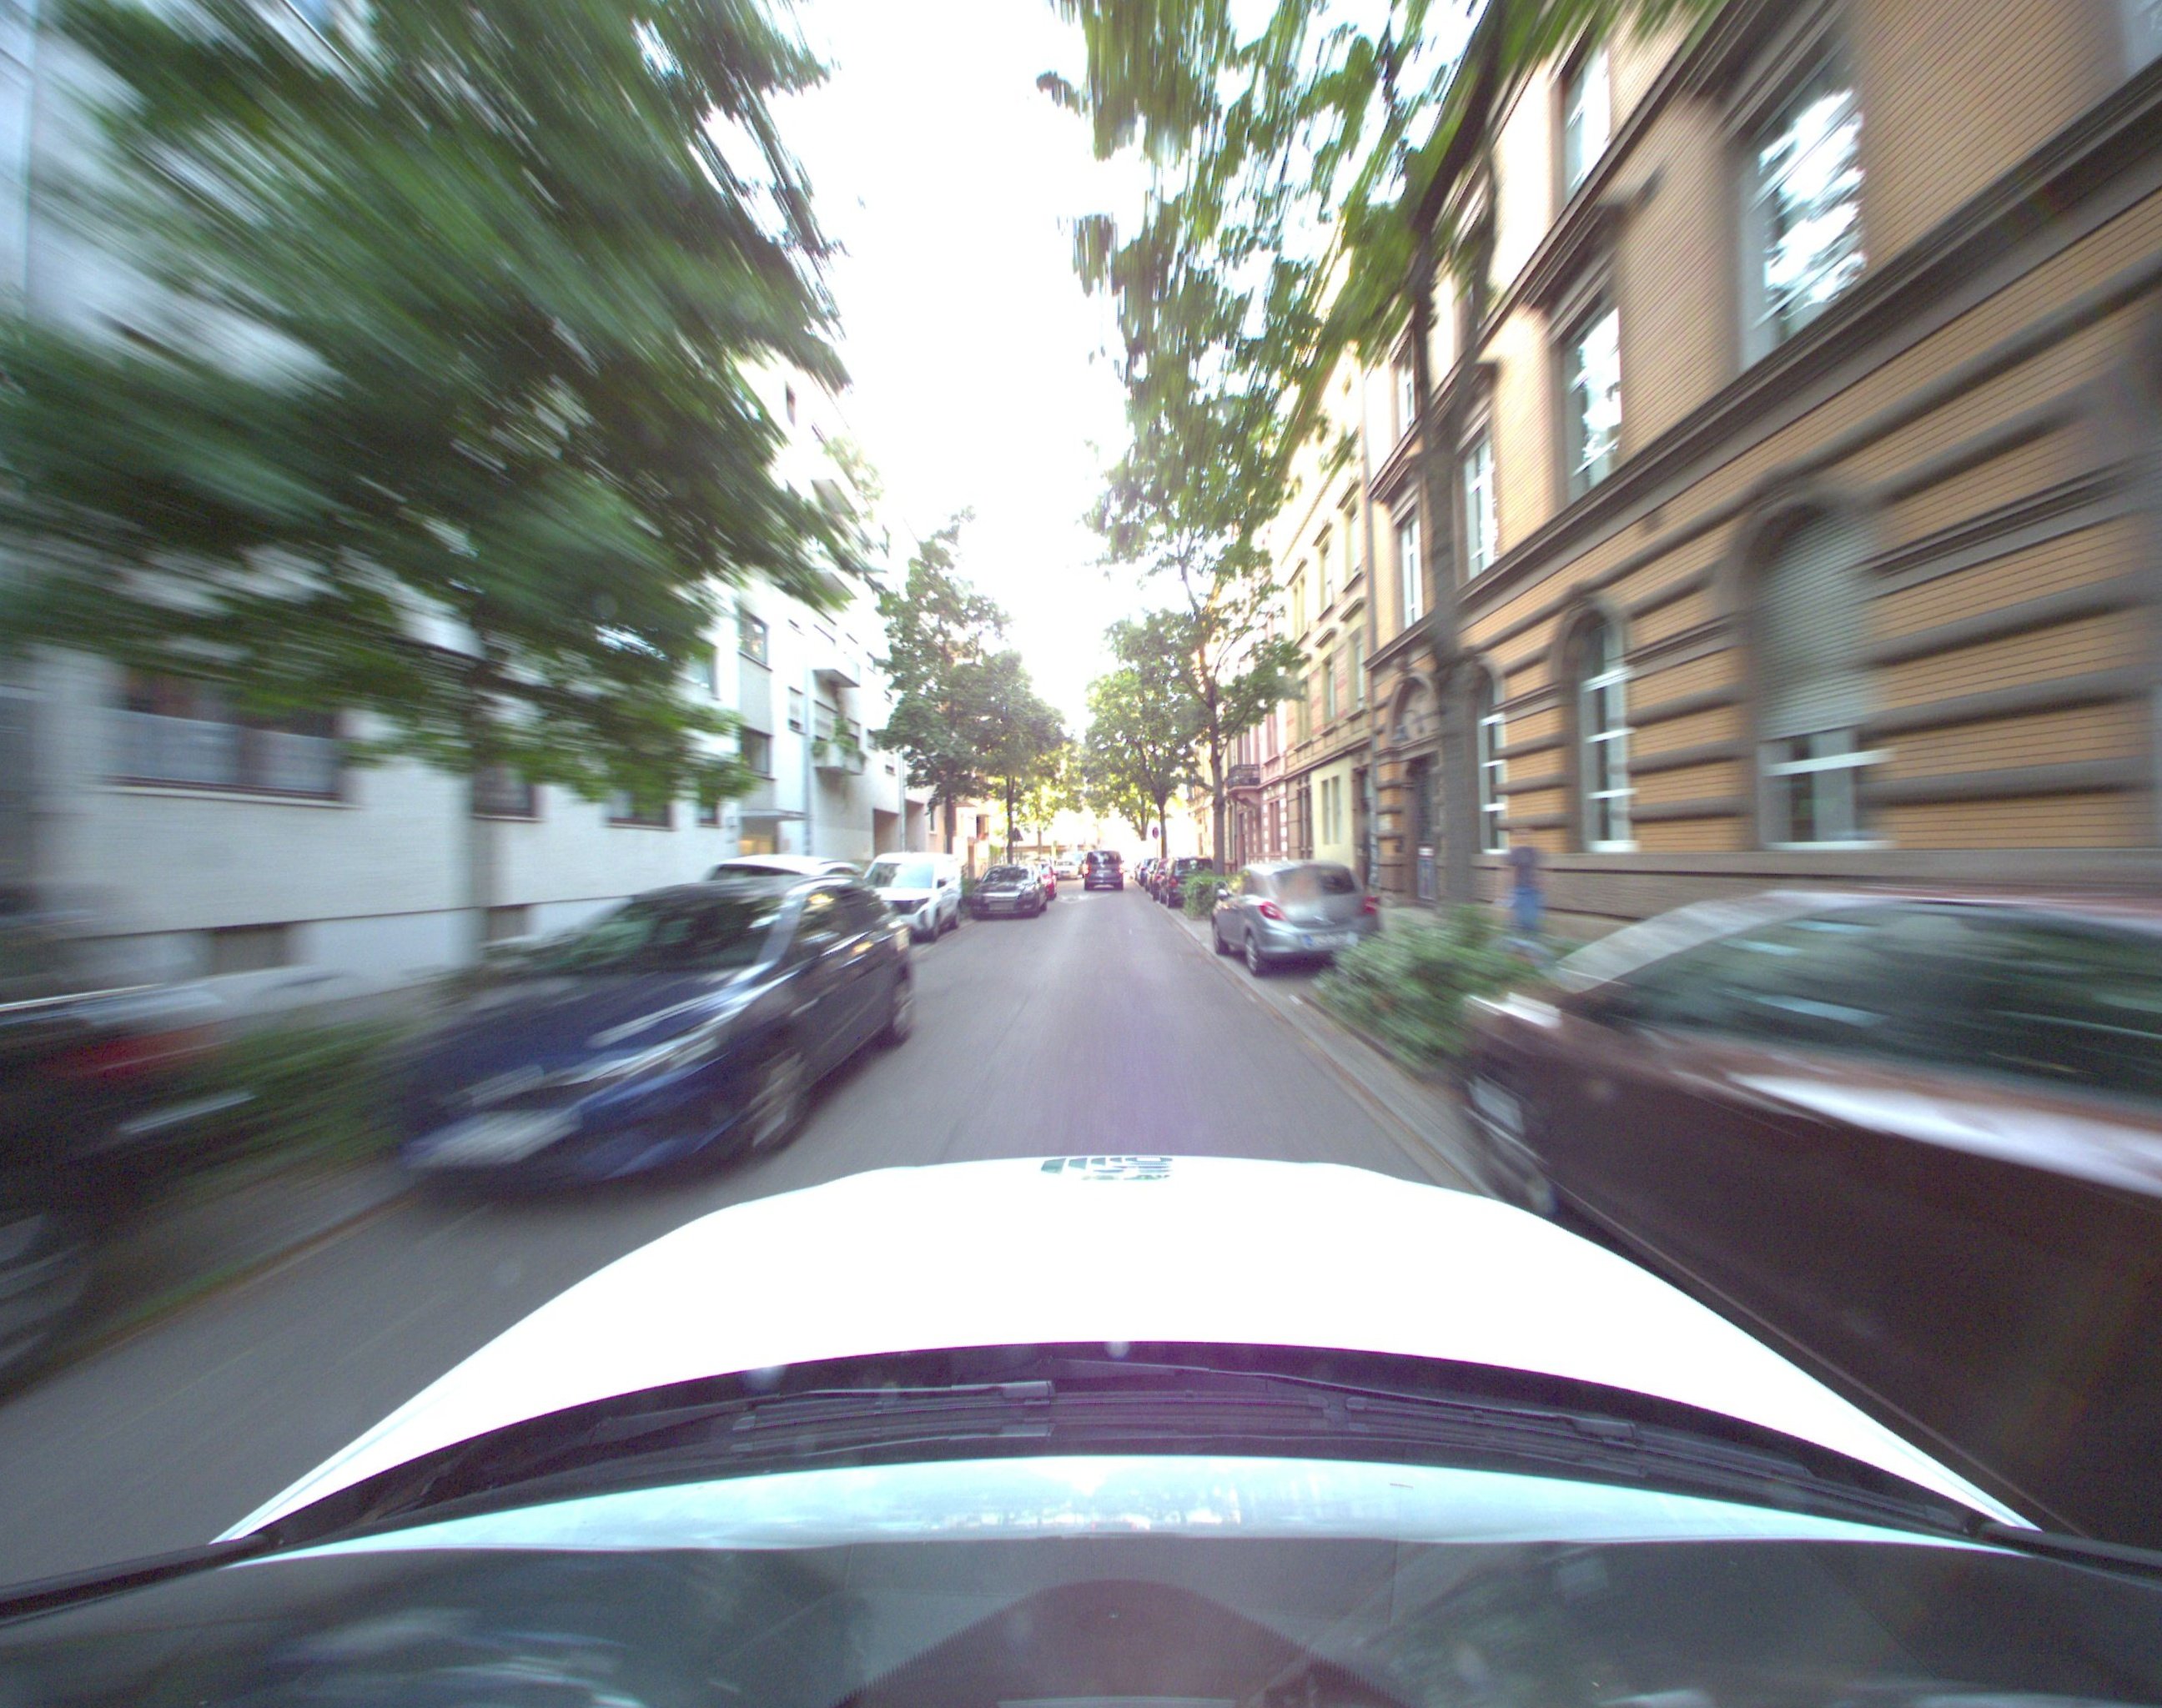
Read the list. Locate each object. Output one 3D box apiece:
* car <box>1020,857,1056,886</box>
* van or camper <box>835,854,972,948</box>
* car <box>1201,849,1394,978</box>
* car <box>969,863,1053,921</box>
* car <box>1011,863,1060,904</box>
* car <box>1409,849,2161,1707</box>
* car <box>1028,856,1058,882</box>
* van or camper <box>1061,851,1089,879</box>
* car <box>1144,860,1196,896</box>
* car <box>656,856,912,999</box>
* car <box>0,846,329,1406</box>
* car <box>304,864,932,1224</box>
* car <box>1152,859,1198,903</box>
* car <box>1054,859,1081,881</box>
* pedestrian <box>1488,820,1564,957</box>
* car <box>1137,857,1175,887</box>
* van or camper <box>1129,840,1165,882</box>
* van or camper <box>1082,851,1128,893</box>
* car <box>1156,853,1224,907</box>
[{"bbox_3d":[-2.585,1.031,49.671,1.890,1.637,4.157,0,0,1],"label":"car"},{"bbox_3d":[-3.718,0.907,17.931,1.924,1.760,4.465,2,0,1],"label":"van or camper"},{"bbox_3d":[2.959,0.749,12.010,1.692,1.483,3.999,-3,-1,0],"label":"car"},{"bbox_3d":[-1.921,1.029,23.624,1.839,1.451,4.504,-1,0,2],"label":"car"},{"bbox_3d":[-1.736,1.122,31.891,1.624,1.430,3.543,-2,0,1],"label":"car"},{"bbox_3d":[2.600,0.740,2.282,1.715,1.450,4.216,-2,-1,2],"label":"car"},{"bbox_3d":[-2.493,0.995,54.498,1.735,1.712,3.376,0,0,1],"label":"car"},{"bbox_3d":[-0.455,0.830,63.292,1.854,1.983,4.274,-2,0,3],"label":"van or camper"},{"bbox_3d":[3.691,0.966,34.359,1.710,1.403,3.812,-2,0,-1],"label":"car"},{"bbox_3d":[-4.090,0.893,12.227,2.027,1.672,4.648,2,0,1],"label":"car"},{"bbox_3d":[-4.213,0.792,0.949,1.986,1.646,4.924,0,0,2],"label":"car"},{"bbox_3d":[-2.455,0.864,5.842,1.824,1.517,4.517,-2,-1,1],"label":"car"},{"bbox_3d":[3.462,0.954,30.491,1.544,1.496,3.615,-1,0,5],"label":"car"},{"bbox_3d":[-0.943,1.120,58.194,1.735,1.404,3.376,-2,0,1],"label":"car"},{"bbox_3d":[5.498,0.419,10.086,0.624,1.648,0.532,-1,-1,2],"label":"pedestrian"},{"bbox_3d":[3.938,0.940,43.217,1.743,1.471,3.778,-1,0,2],"label":"car"},{"bbox_3d":[4.335,0.480,54.200,1.987,2.599,5.424,-1,0,0],"label":"van or camper"},{"bbox_3d":[1.226,0.816,39.660,2.026,1.897,4.275,-1,0,4],"label":"van or camper"},{"bbox_3d":[3.432,0.783,26.193,1.606,1.559,3.765,-2,0,0],"label":"car"}]
